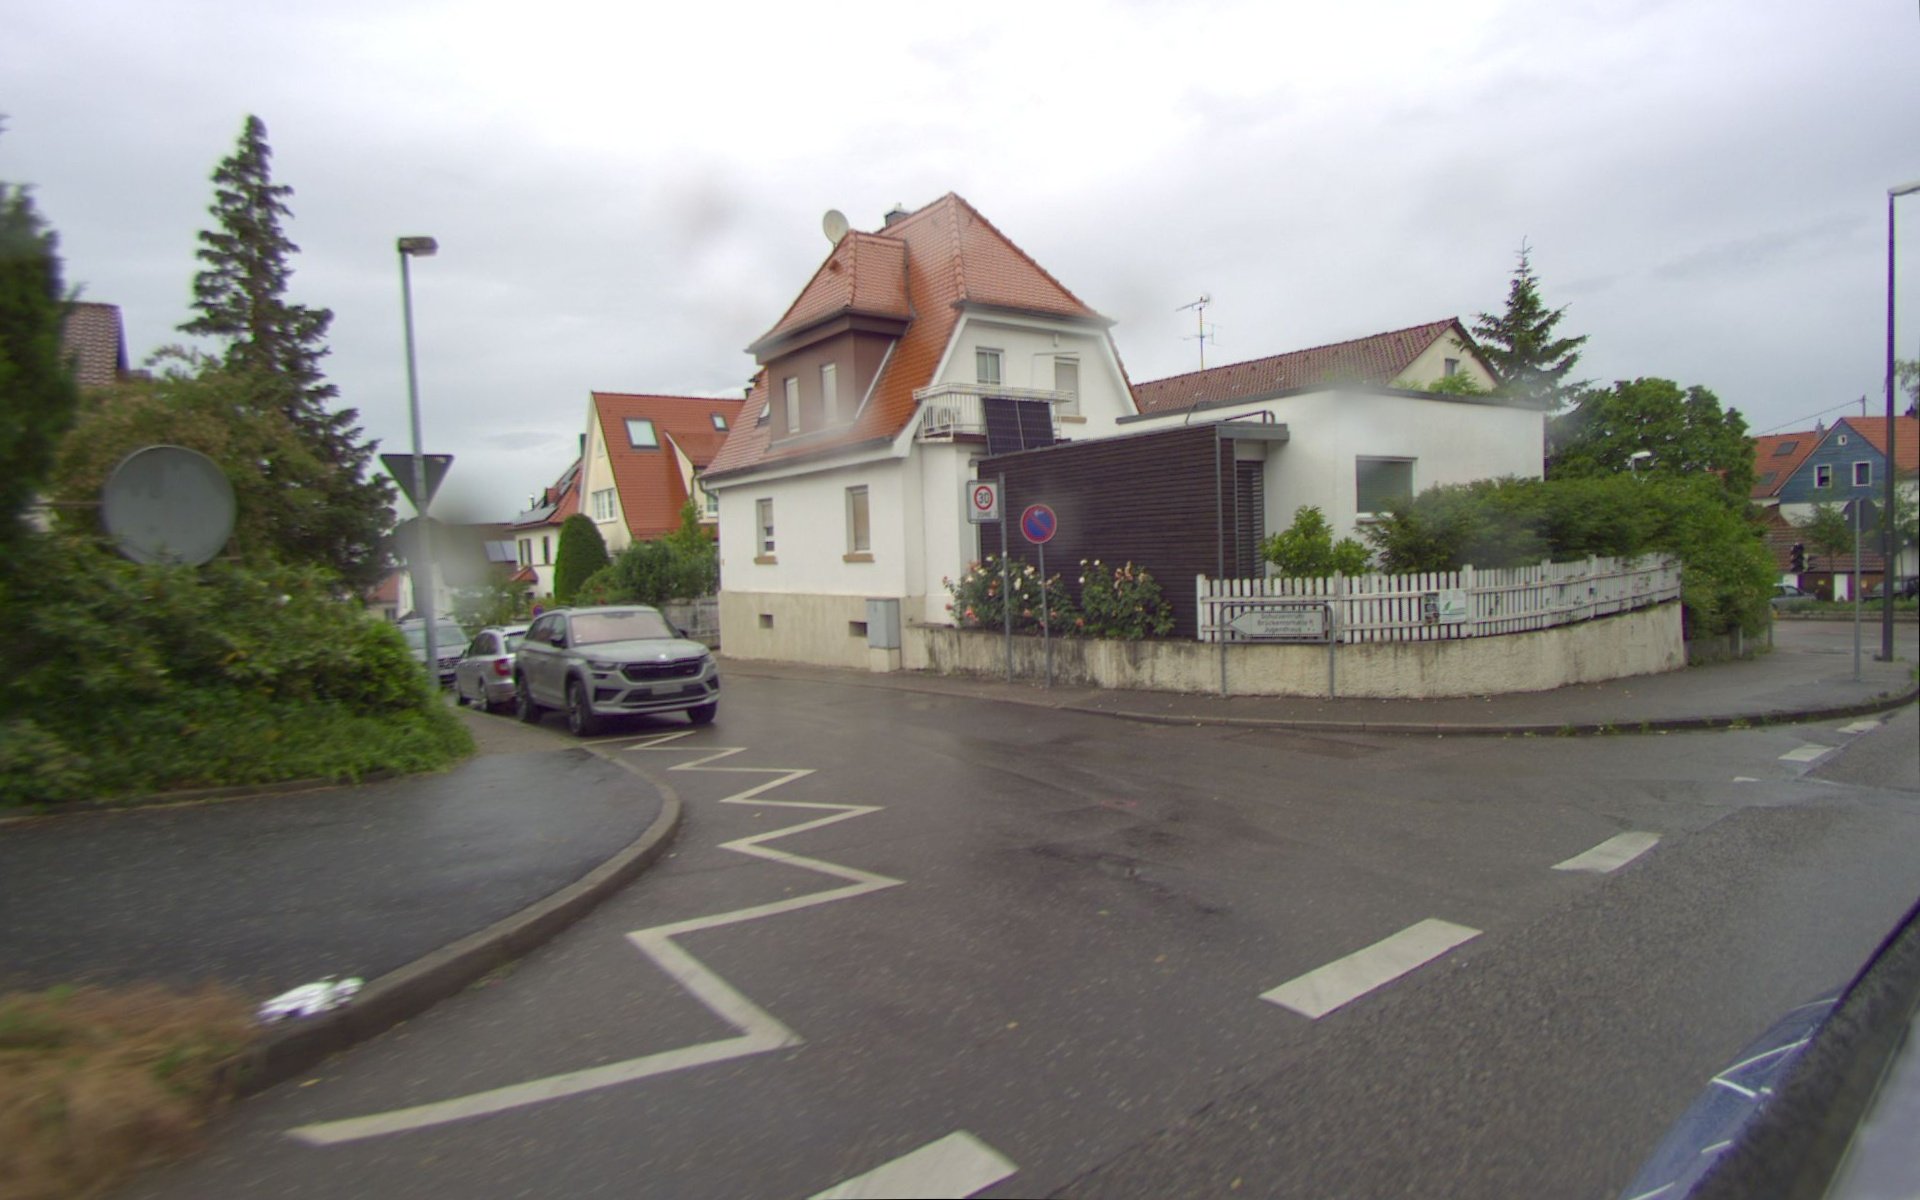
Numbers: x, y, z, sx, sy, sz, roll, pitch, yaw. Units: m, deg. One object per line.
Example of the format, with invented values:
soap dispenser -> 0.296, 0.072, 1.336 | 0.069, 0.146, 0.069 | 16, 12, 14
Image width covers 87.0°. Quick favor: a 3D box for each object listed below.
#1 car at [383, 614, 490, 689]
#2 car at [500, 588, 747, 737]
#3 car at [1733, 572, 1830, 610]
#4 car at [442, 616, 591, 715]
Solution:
car -> -13.610, 1.319, 26.207 | 1.764, 1.657, 3.997 | -4, 0, -37
car -> -4.908, 0.830, 14.322 | 1.888, 1.672, 4.445 | -4, 0, -37
car -> 46.643, -0.516, 57.484 | 4.036, 1.822, 2.003 | -4, 0, -9
car -> -8.045, 1.128, 18.161 | 1.616, 1.456, 3.998 | -4, 0, -35
